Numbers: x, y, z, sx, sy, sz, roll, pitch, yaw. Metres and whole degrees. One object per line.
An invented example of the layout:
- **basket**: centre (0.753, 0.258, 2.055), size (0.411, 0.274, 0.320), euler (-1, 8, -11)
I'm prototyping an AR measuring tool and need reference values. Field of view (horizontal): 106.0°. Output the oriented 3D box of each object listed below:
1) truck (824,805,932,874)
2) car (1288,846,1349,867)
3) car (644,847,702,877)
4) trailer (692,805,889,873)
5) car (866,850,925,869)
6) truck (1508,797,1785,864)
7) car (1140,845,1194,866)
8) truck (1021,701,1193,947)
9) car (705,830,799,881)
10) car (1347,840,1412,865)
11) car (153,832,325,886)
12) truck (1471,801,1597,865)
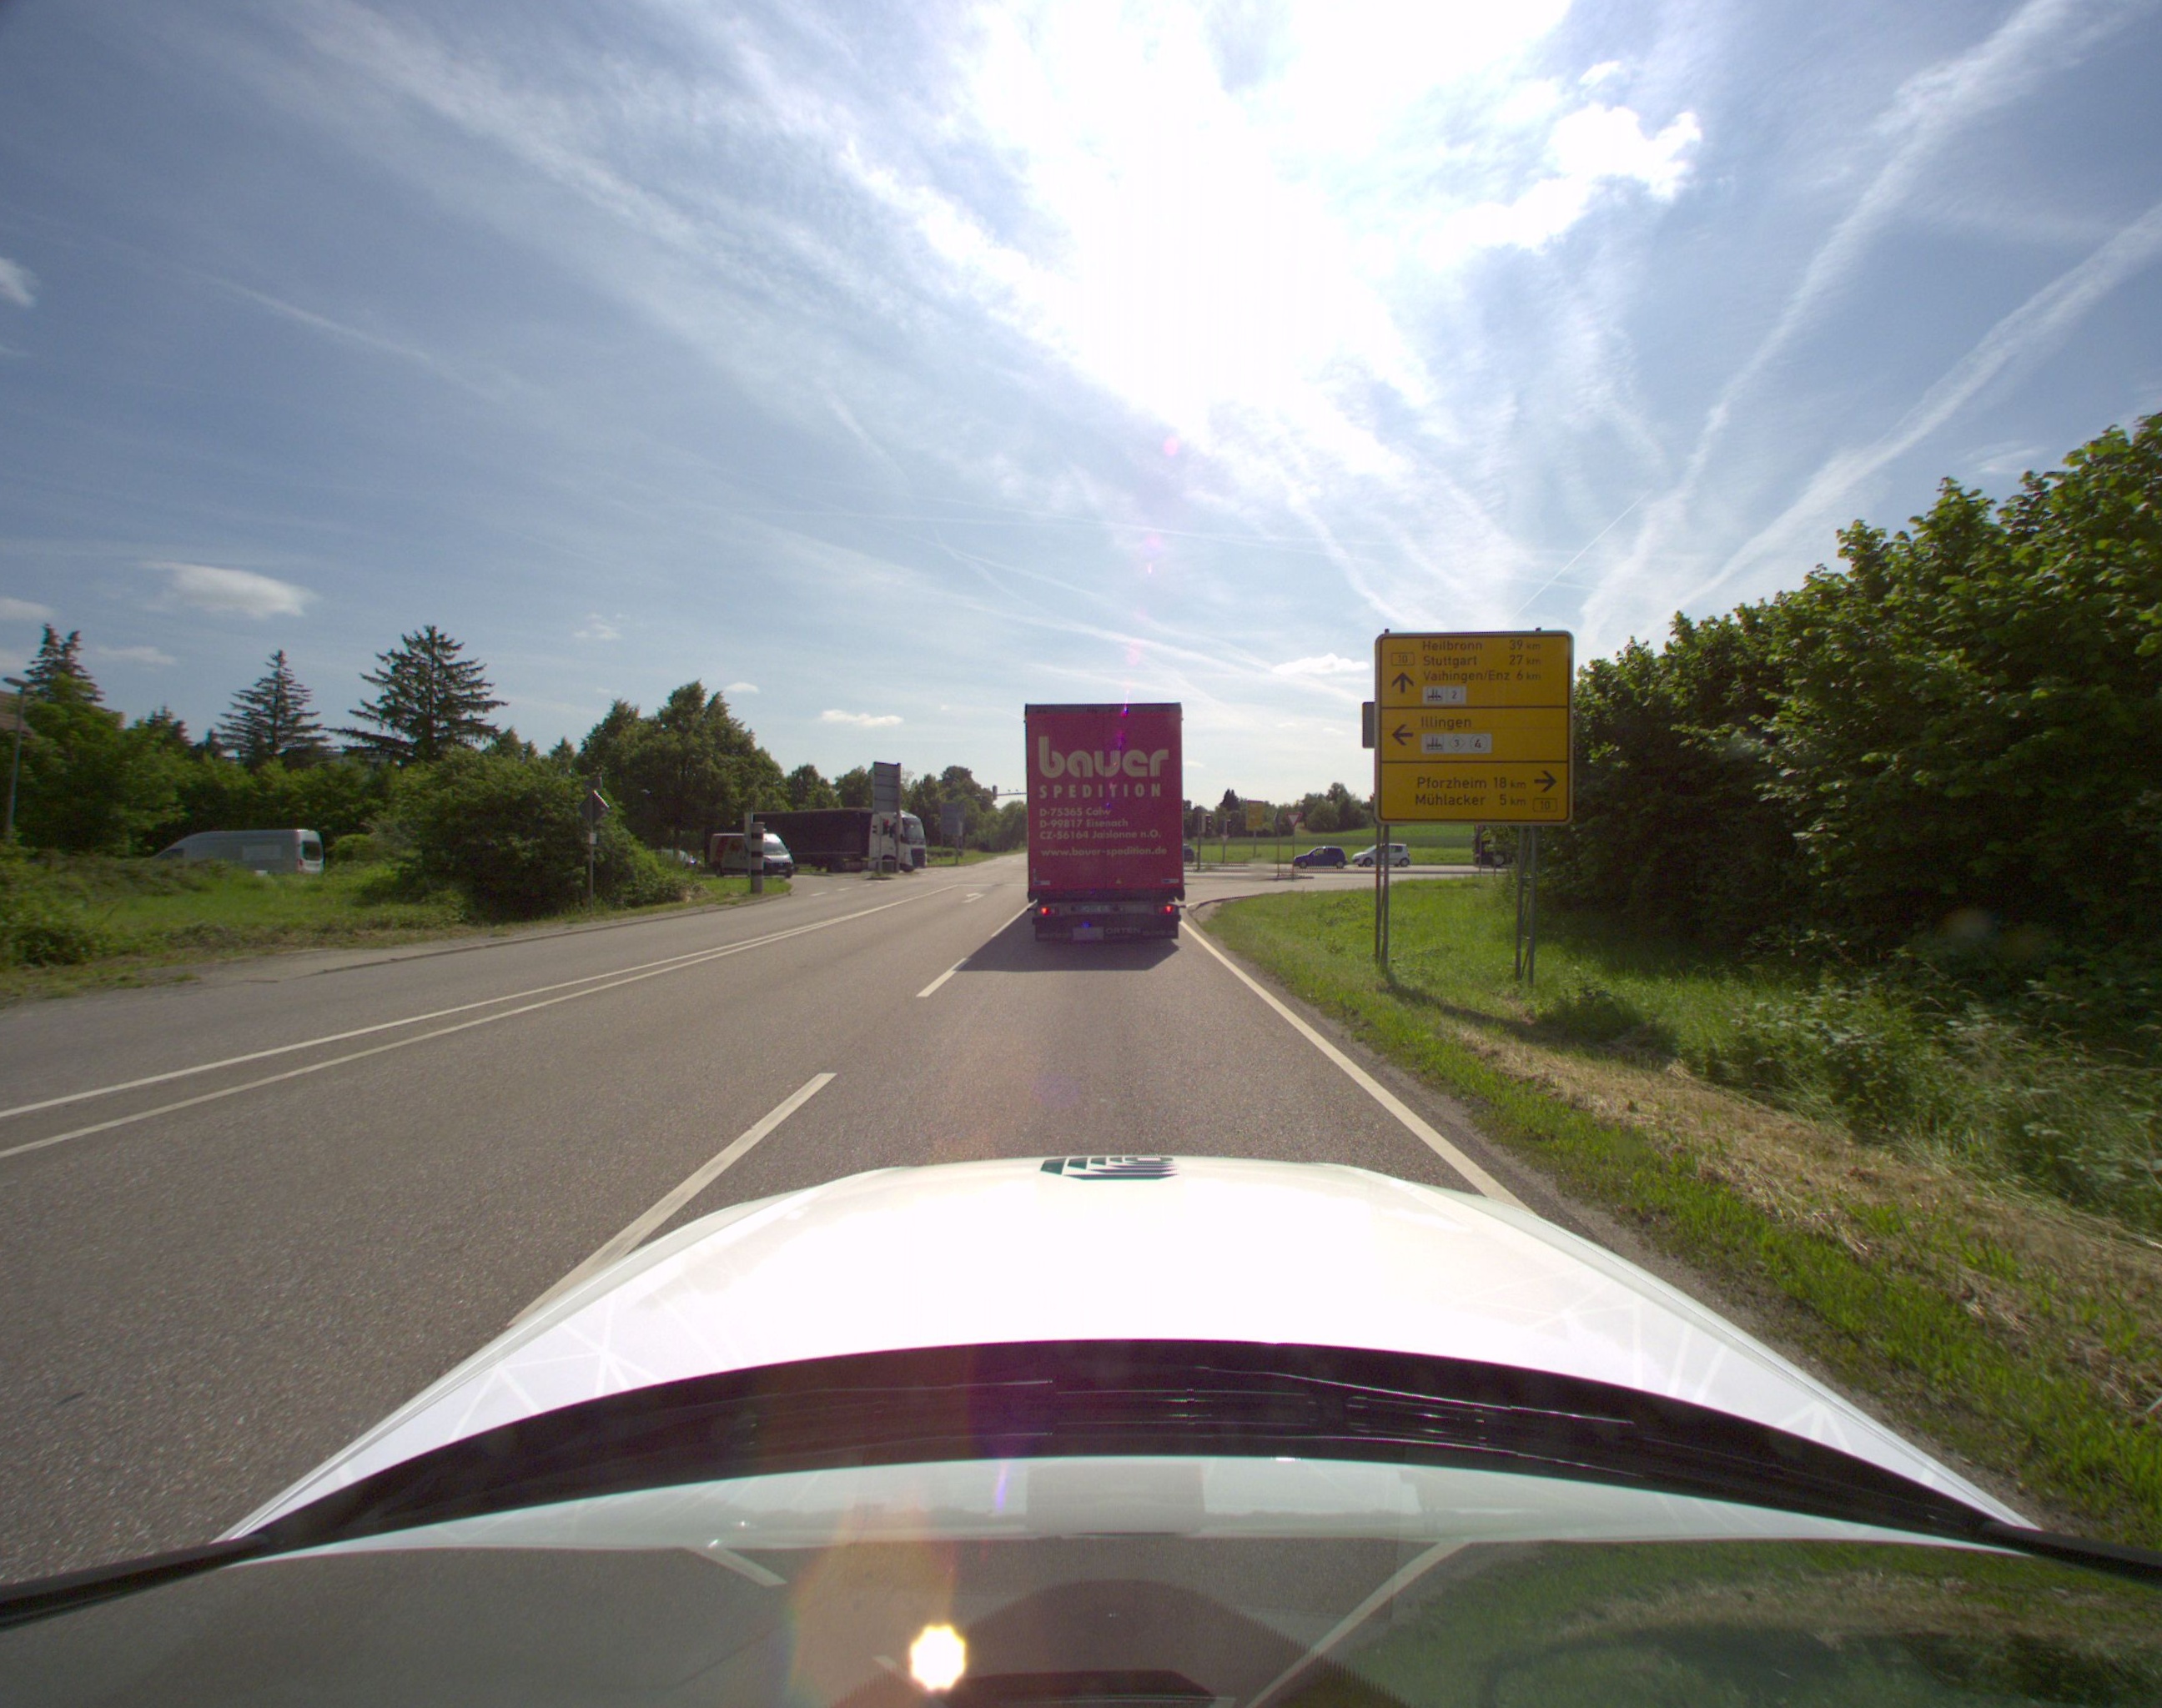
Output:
- **truck**: centre (-12.443, -0.868, 50.095), size (5.778, 4.061, 2.812), euler (0, 1, 19)
- **car**: centre (15.560, 0.148, 53.493), size (3.819, 1.357, 1.683), euler (0, 0, 15)
- **car**: centre (-25.437, 0.513, 50.739), size (4.058, 1.750, 1.884), euler (-1, -1, 41)
- **trailer**: centre (-18.947, -0.916, 52.711), size (13.563, 4.061, 2.814), euler (0, 1, 23)
- **car**: centre (-14.174, 0.437, 62.297), size (3.956, 1.429, 2.008), euler (0, -1, 16)
- **truck**: centre (35.296, -1.394, 51.708), size (14.166, 3.979, 3.042), euler (0, 1, 18)
- **car**: centre (6.973, 0.142, 66.034), size (4.234, 1.656, 1.710), euler (-1, -1, 45)
- **truck**: centre (0.644, -0.551, 21.393), size (2.724, 3.925, 16.631), euler (-1, 0, 2)
- **car**: centre (-18.078, 0.027, 44.570), size (5.909, 2.654, 2.138), euler (1, 2, 39)
- **car**: centre (20.320, -0.109, 55.561), size (3.809, 1.633, 1.763), euler (-1, -1, 4)
- **car**: centre (-35.600, 0.213, 34.608), size (4.601, 2.180, 1.985), euler (0, 0, -22)
- **truck**: centre (29.631, -1.358, 53.621), size (6.874, 3.993, 3.042), euler (0, 1, 18)
